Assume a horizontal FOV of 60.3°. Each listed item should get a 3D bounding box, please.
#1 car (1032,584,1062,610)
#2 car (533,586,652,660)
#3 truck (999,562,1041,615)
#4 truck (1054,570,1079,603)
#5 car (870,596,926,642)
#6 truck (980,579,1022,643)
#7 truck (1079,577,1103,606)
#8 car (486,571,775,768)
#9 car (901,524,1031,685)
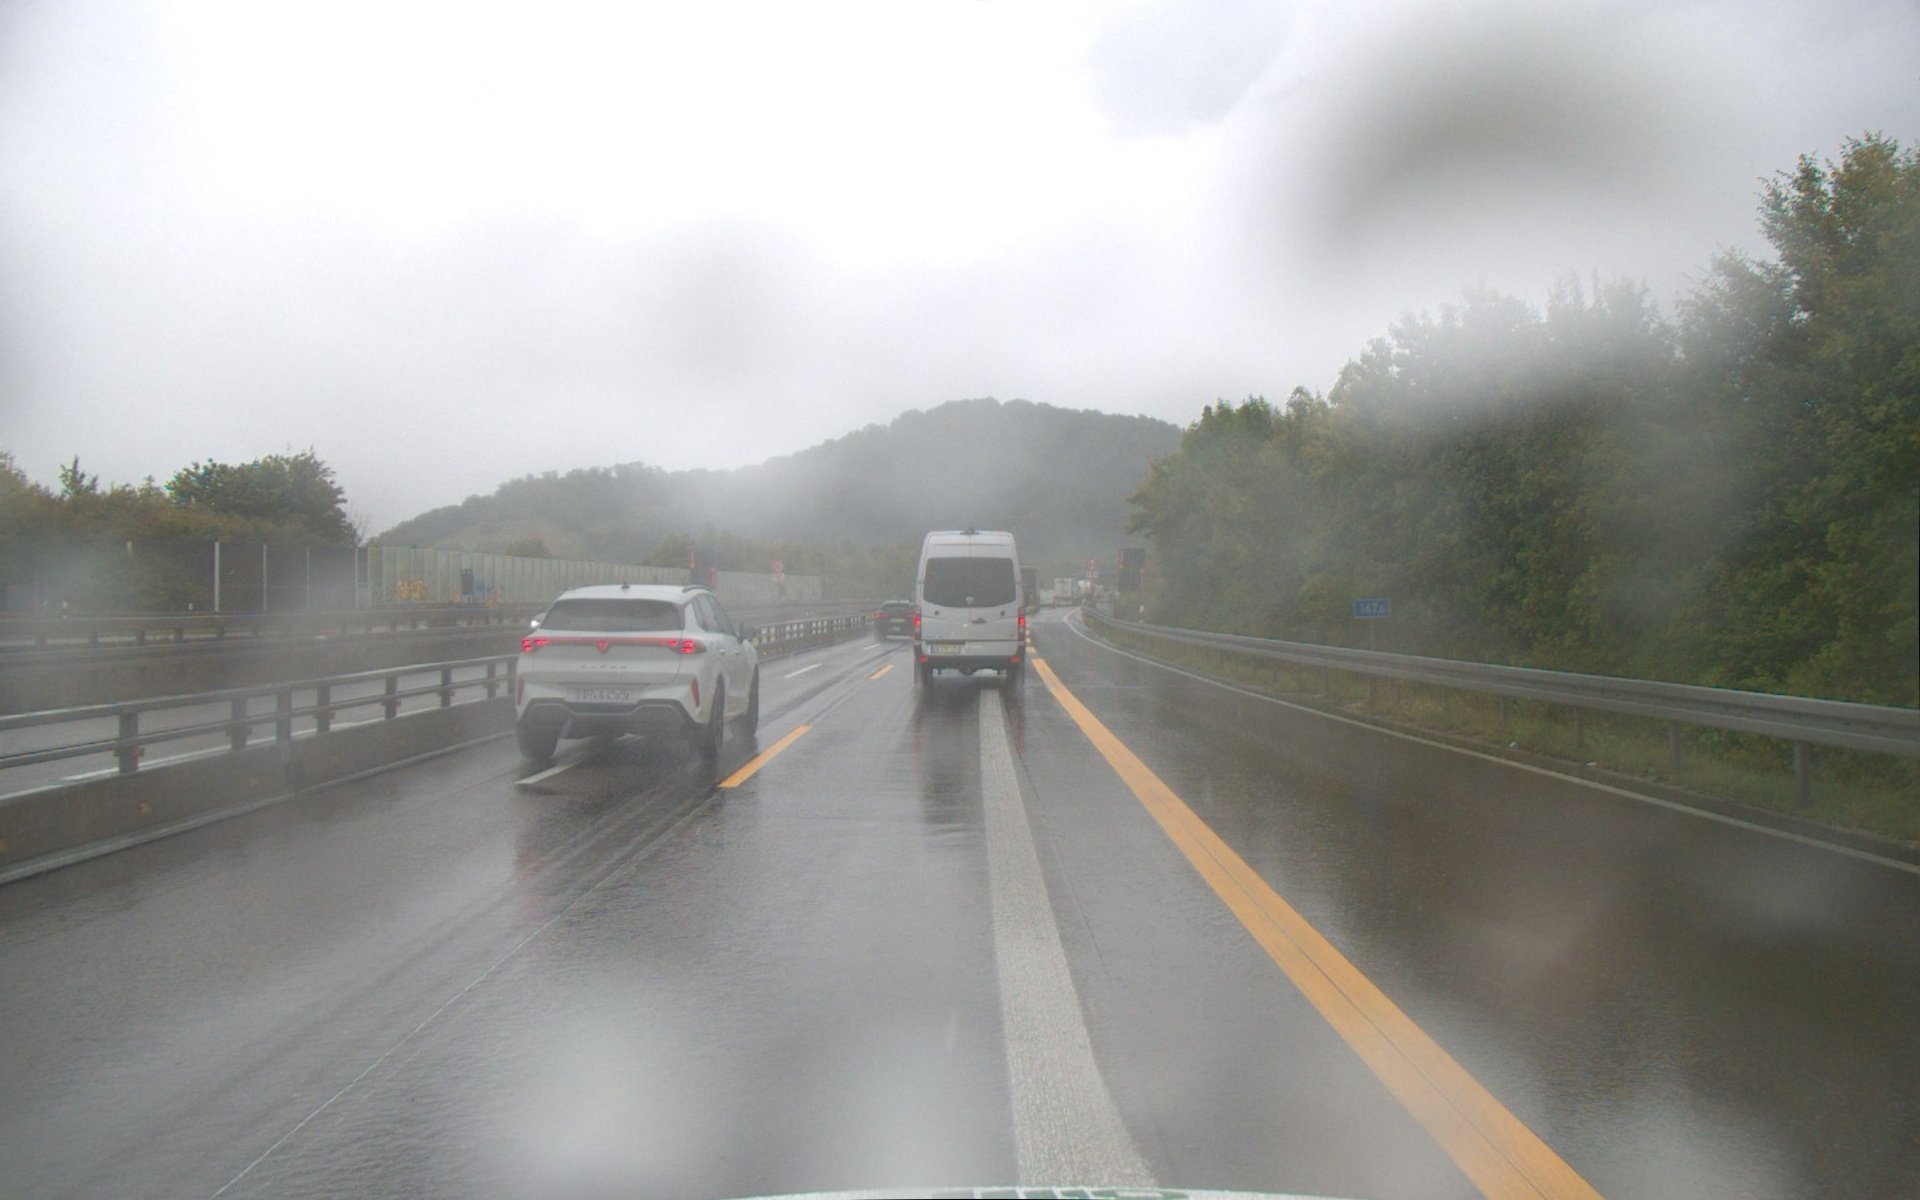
[{"bbox_3d":[10.157,-0.345,192.400,2.836,2.938,6.416,1,0,8],"label":"car"},{"bbox_3d":[-8.576,0.521,38.967,1.742,1.632,4.317,1,0,1],"label":"car"},{"bbox_3d":[5.294,-0.966,145.268,3.506,4.483,9.627,1,0,3],"label":"truck"},{"bbox_3d":[14.771,-1.805,228.968,2.971,4.483,9.631,1,0,7],"label":"truck"},{"bbox_3d":[-2.286,0.689,60.225,1.908,1.588,3.997,1,0,-4],"label":"car"},{"bbox_3d":[2.173,0.562,86.148,1.952,3.163,8.501,1,0,3],"label":"truck"},{"bbox_3d":[20.773,-1.318,261.140,2.836,4.483,9.632,1,0,10],"label":"truck"},{"bbox_3d":[-3.068,0.603,16.443,1.953,1.646,4.795,1,0,-1],"label":"car"},{"bbox_3d":[0.115,0.087,29.863,2.101,2.616,5.389,1,0,0],"label":"car"}]
